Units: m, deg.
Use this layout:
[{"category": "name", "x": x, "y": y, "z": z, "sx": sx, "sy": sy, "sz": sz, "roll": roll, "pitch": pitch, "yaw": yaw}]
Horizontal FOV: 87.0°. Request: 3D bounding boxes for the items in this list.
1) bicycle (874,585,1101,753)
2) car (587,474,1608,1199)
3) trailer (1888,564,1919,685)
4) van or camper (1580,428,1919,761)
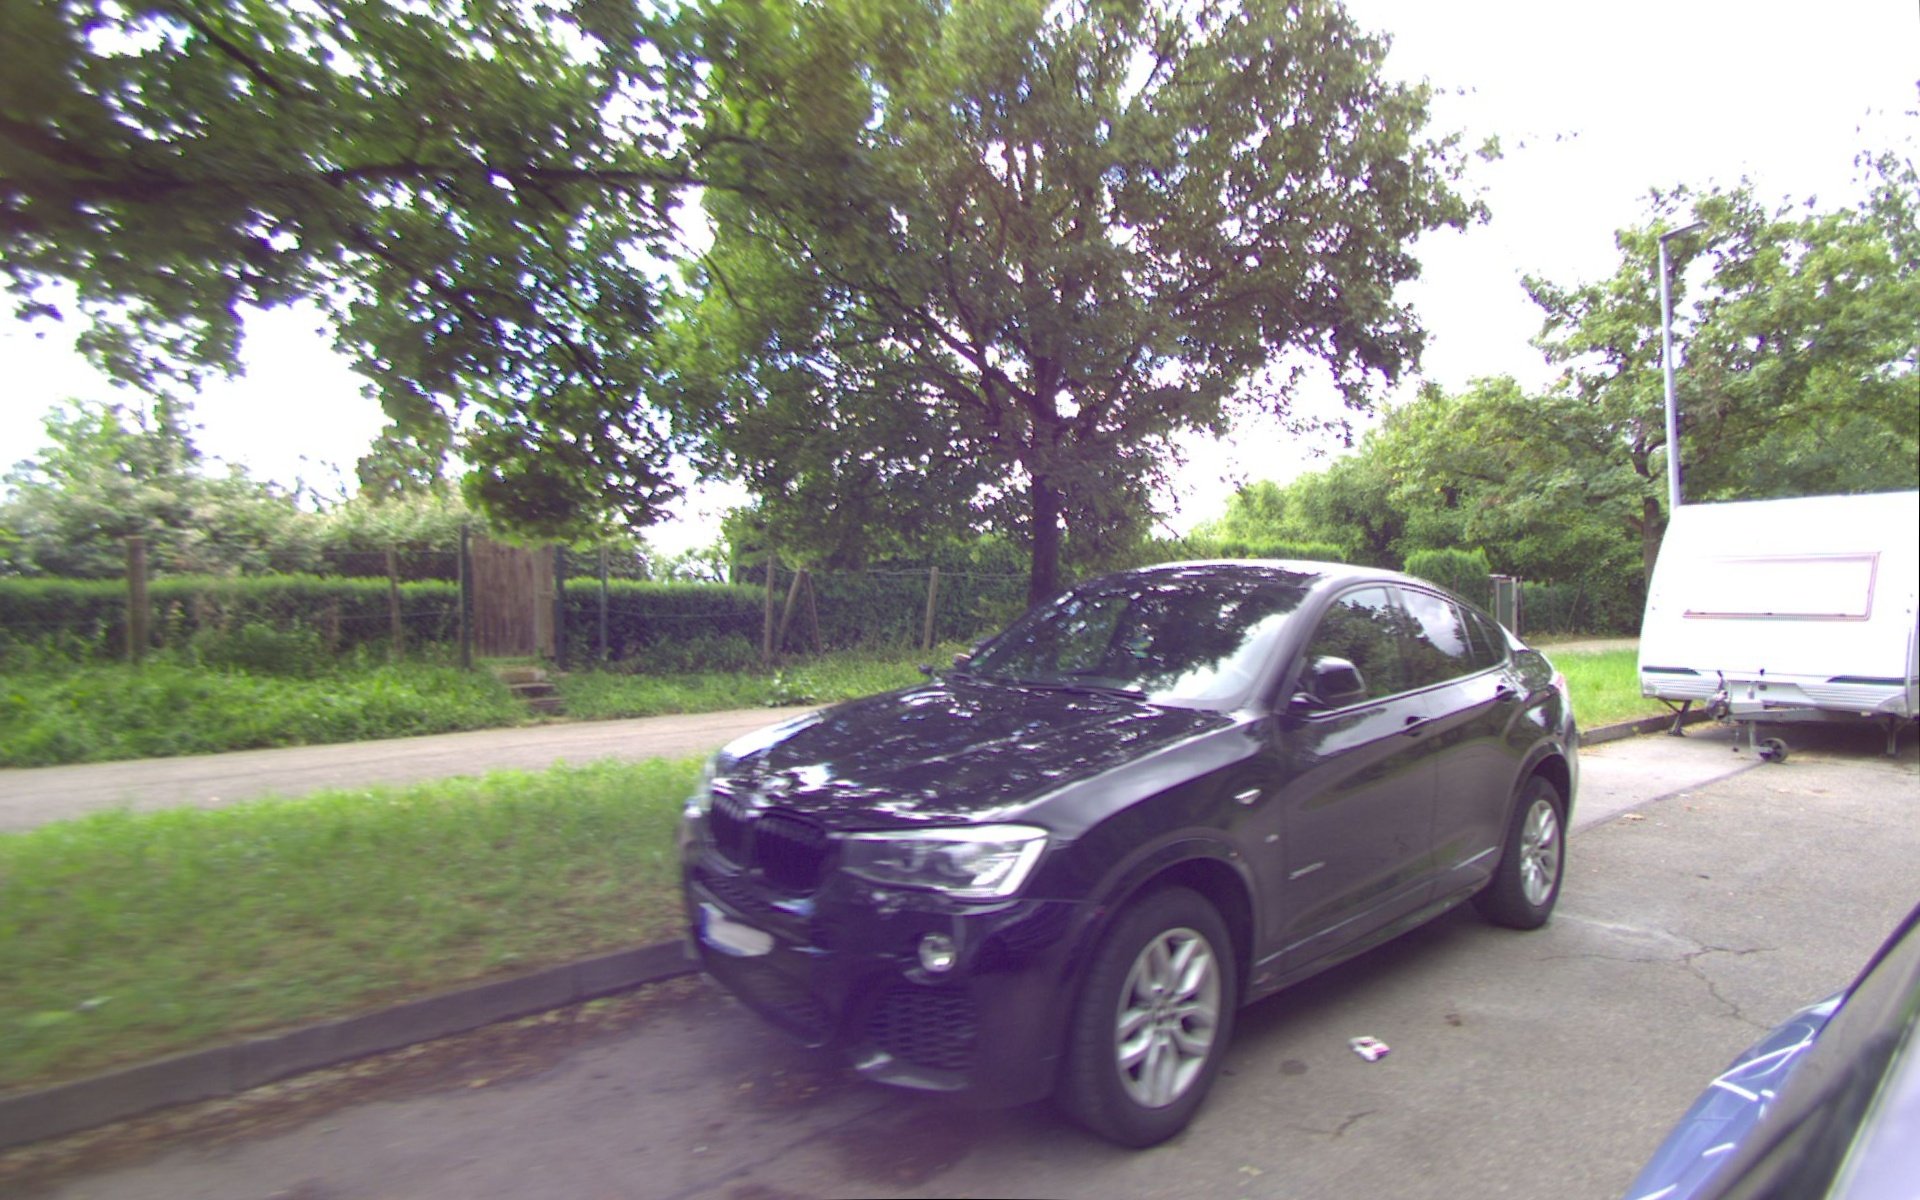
[{"category": "bicycle", "x": 0.300, "y": 0.533, "z": 8.817, "sx": 2.148, "sy": 1.230, "sz": 0.534, "roll": -4, "pitch": 1, "yaw": -42}, {"category": "car", "x": 0.976, "y": 0.537, "z": 4.290, "sx": 4.452, "sy": 1.663, "sz": 1.851, "roll": -1, "pitch": 1, "yaw": -42}, {"category": "trailer", "x": 16.251, "y": 0.310, "z": 15.690, "sx": 4.562, "sy": 1.752, "sz": 1.778, "roll": -2, "pitch": 2, "yaw": -34}, {"category": "van or camper", "x": 8.903, "y": -0.095, "z": 10.455, "sx": 5.920, "sy": 2.568, "sz": 2.167, "roll": -1, "pitch": 0, "yaw": -37}]
